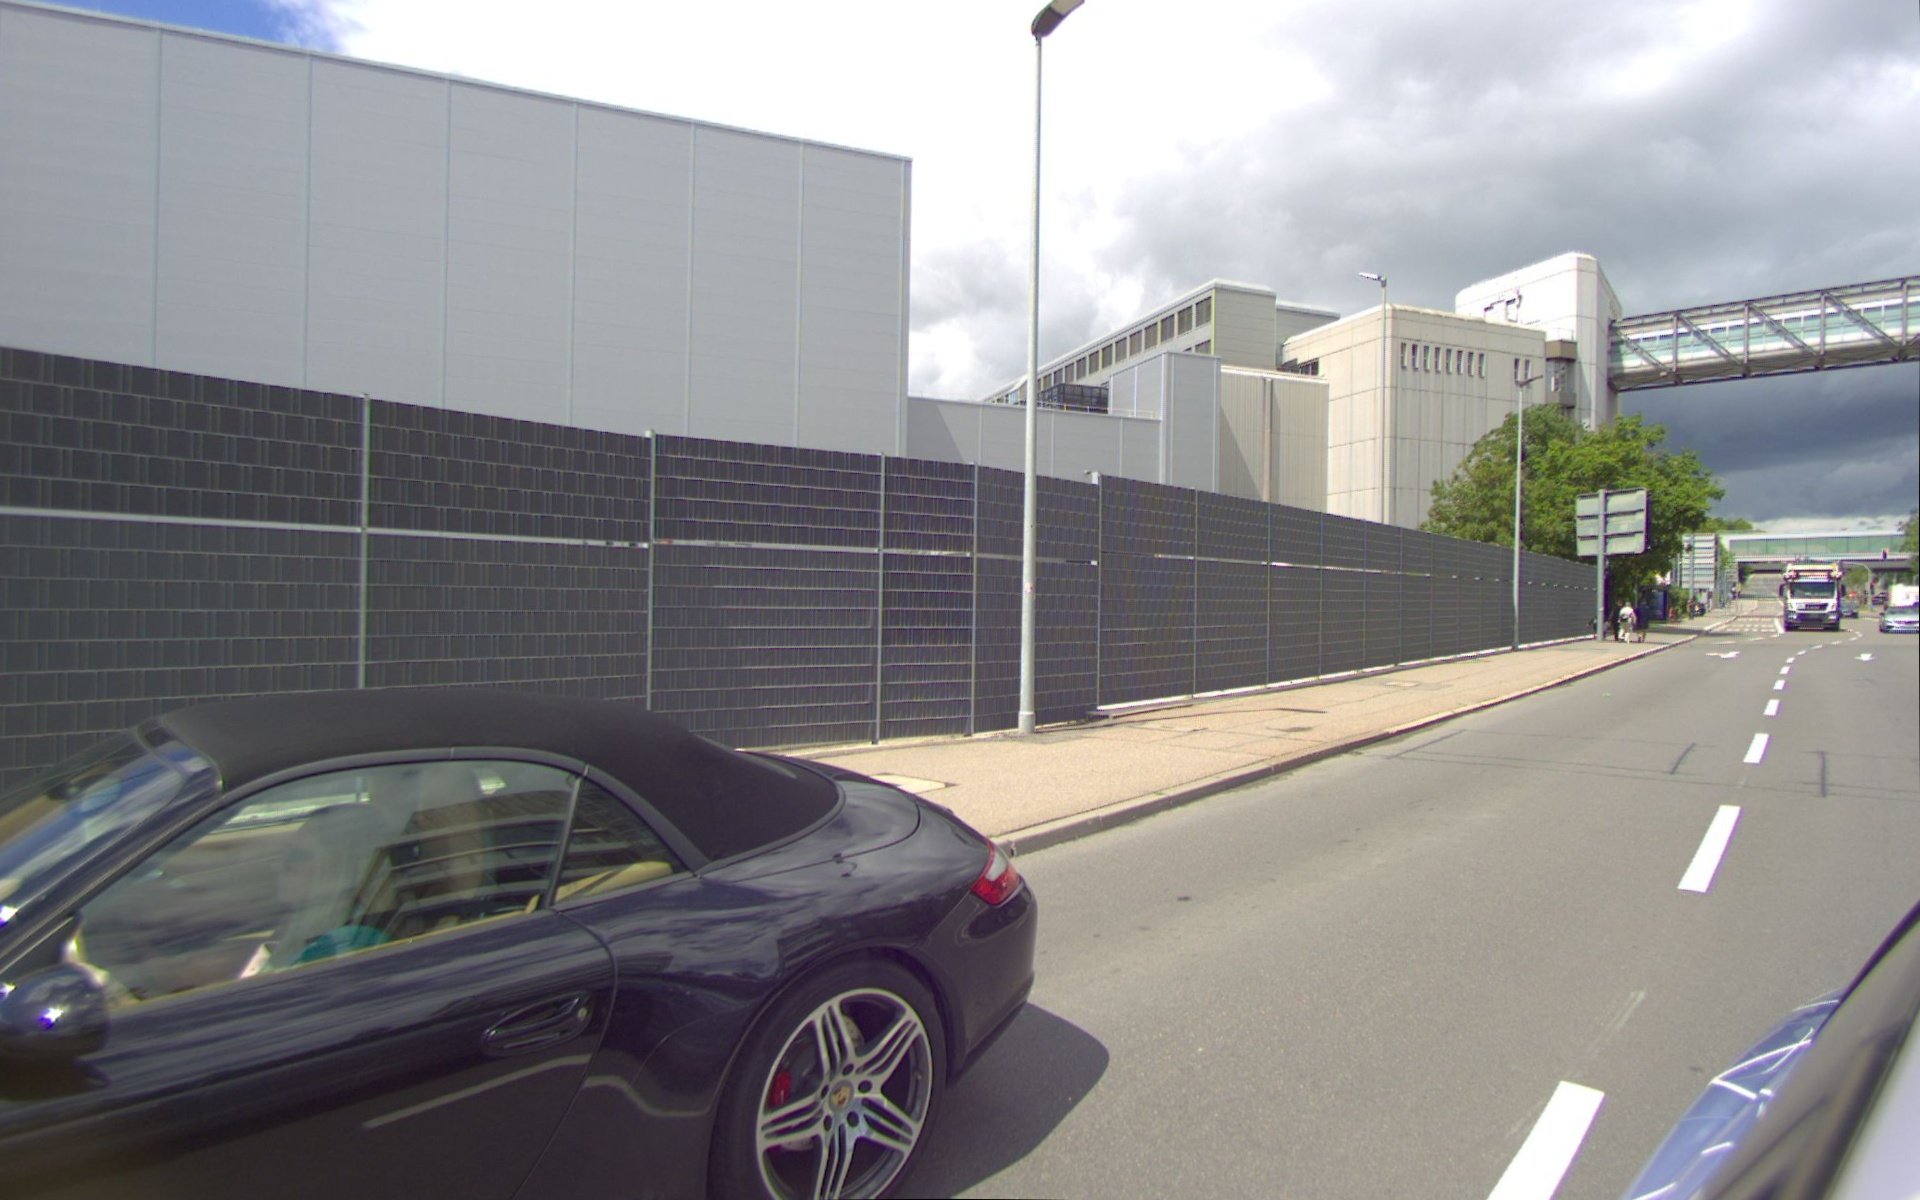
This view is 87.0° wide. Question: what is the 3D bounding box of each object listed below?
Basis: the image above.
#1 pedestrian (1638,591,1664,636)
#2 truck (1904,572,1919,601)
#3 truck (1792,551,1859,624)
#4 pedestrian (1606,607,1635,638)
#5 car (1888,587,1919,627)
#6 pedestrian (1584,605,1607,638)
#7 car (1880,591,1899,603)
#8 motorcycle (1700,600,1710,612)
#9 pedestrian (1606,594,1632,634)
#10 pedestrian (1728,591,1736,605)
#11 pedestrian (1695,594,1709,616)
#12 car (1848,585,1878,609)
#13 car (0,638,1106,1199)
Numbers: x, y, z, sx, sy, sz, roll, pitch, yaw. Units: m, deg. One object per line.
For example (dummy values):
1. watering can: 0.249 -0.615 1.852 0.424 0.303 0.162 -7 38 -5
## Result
1. pedestrian: 26.849 0.522 39.313 0.792 1.742 0.722 -1 -1 37
2. truck: 106.505 -1.495 112.317 2.451 3.168 7.131 -1 0 43
3. truck: 51.226 -0.732 60.081 2.702 3.935 10.588 -1 0 39
4. pedestrian: 25.372 0.857 38.892 0.757 1.163 0.956 -1 -1 44
5. car: 50.850 0.339 53.926 1.865 1.980 4.642 -2 0 41
6. pedestrian: 24.671 0.830 39.273 0.596 1.222 0.705 -1 -1 44
7. car: 131.378 -0.461 143.101 1.734 1.705 4.152 -1 0 40
8. motorcycle: 67.931 0.545 92.229 0.590 1.080 2.007 2 1 40
9. pedestrian: 26.661 0.567 40.961 0.793 1.617 0.721 -1 -1 39
10. pedestrian: 96.630 -0.247 126.702 0.726 1.788 1.001 -1 -1 40
11. pedestrian: 57.730 0.362 78.732 0.808 1.665 0.984 2 2 39
12. car: 80.936 -0.298 90.752 1.865 1.980 4.642 -2 0 41
13. car: -1.658 0.776 2.388 3.928 1.342 1.837 2 -2 -40
